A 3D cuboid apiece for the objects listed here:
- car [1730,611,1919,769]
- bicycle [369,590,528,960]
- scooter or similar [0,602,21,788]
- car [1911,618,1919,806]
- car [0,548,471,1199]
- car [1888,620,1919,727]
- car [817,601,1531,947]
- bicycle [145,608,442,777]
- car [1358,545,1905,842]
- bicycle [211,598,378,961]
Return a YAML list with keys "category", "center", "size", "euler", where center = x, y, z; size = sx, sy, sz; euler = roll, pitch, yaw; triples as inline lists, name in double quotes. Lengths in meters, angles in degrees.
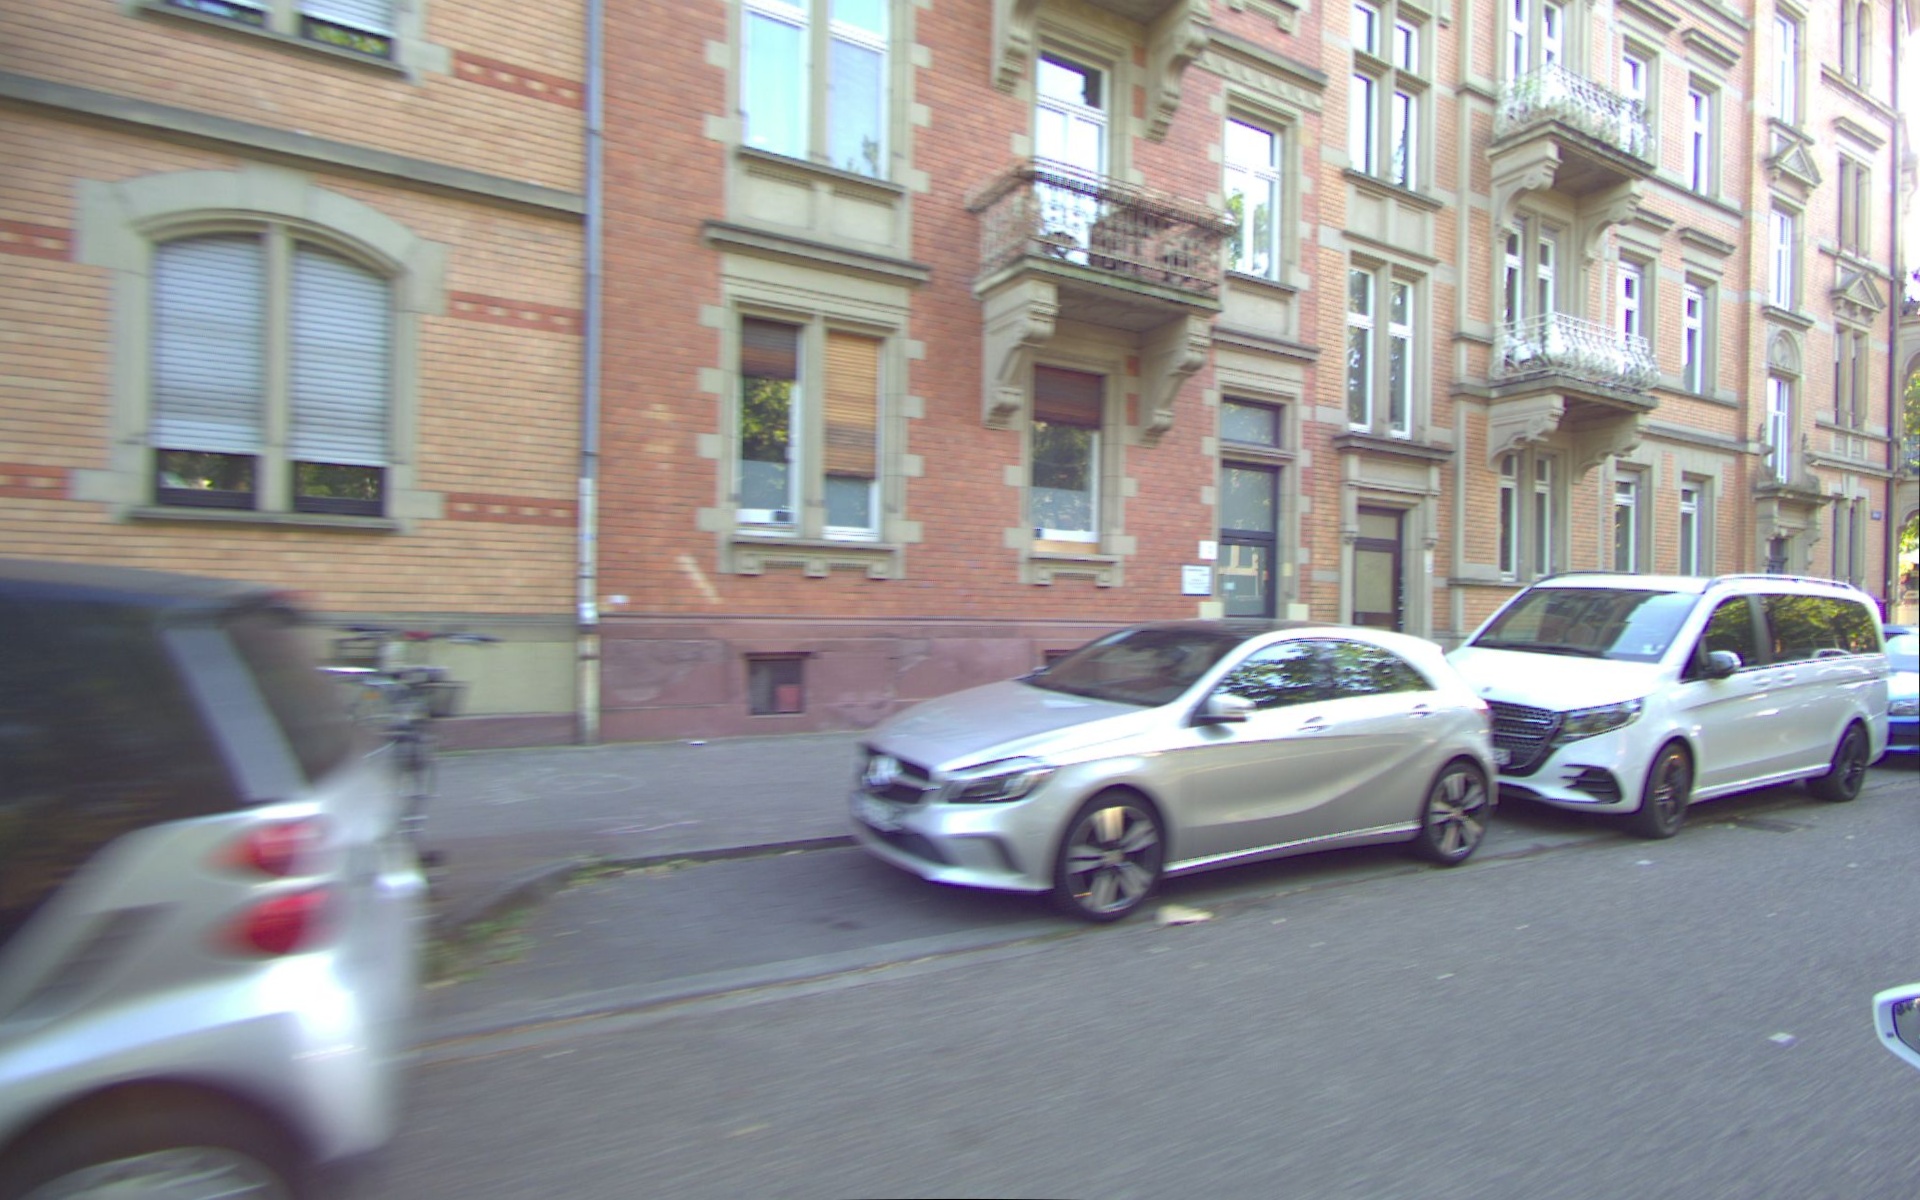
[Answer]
- category: "car"
  center: [10.819, 0.932, 11.619]
  size: [3.954, 1.506, 1.661]
  euler: [1, 1, -31]
- category: "bicycle"
  center: [-2.390, 0.657, 4.644]
  size: [0.490, 1.365, 1.755]
  euler: [3, 0, -29]
- category: "scooter or similar"
  center: [-7.501, 0.584, 5.948]
  size: [2.672, 1.238, 0.779]
  euler: [3, 0, -30]
- category: "car"
  center: [9.689, 0.901, 8.300]
  size: [3.954, 1.483, 1.660]
  euler: [1, -2, -31]
- category: "car"
  center: [-2.522, 0.646, 2.002]
  size: [2.719, 1.454, 1.498]
  euler: [1, -1, -29]
- category: "car"
  center: [15.212, 1.053, 14.355]
  size: [4.190, 1.449, 1.662]
  euler: [1, 1, -30]
- category: "car"
  center: [1.389, 0.794, 6.049]
  size: [4.159, 1.473, 1.667]
  euler: [1, -2, -29]
- category: "bicycle"
  center: [-4.843, 0.671, 7.430]
  size: [1.746, 1.145, 0.425]
  euler: [3, 0, -27]
- category: "car"
  center: [5.951, 0.708, 8.721]
  size: [4.983, 1.946, 1.983]
  euler: [3, 0, -31]
- category: "bicycle"
  center: [-2.822, 0.633, 4.368]
  size: [0.423, 1.231, 1.755]
  euler: [3, 0, -29]
